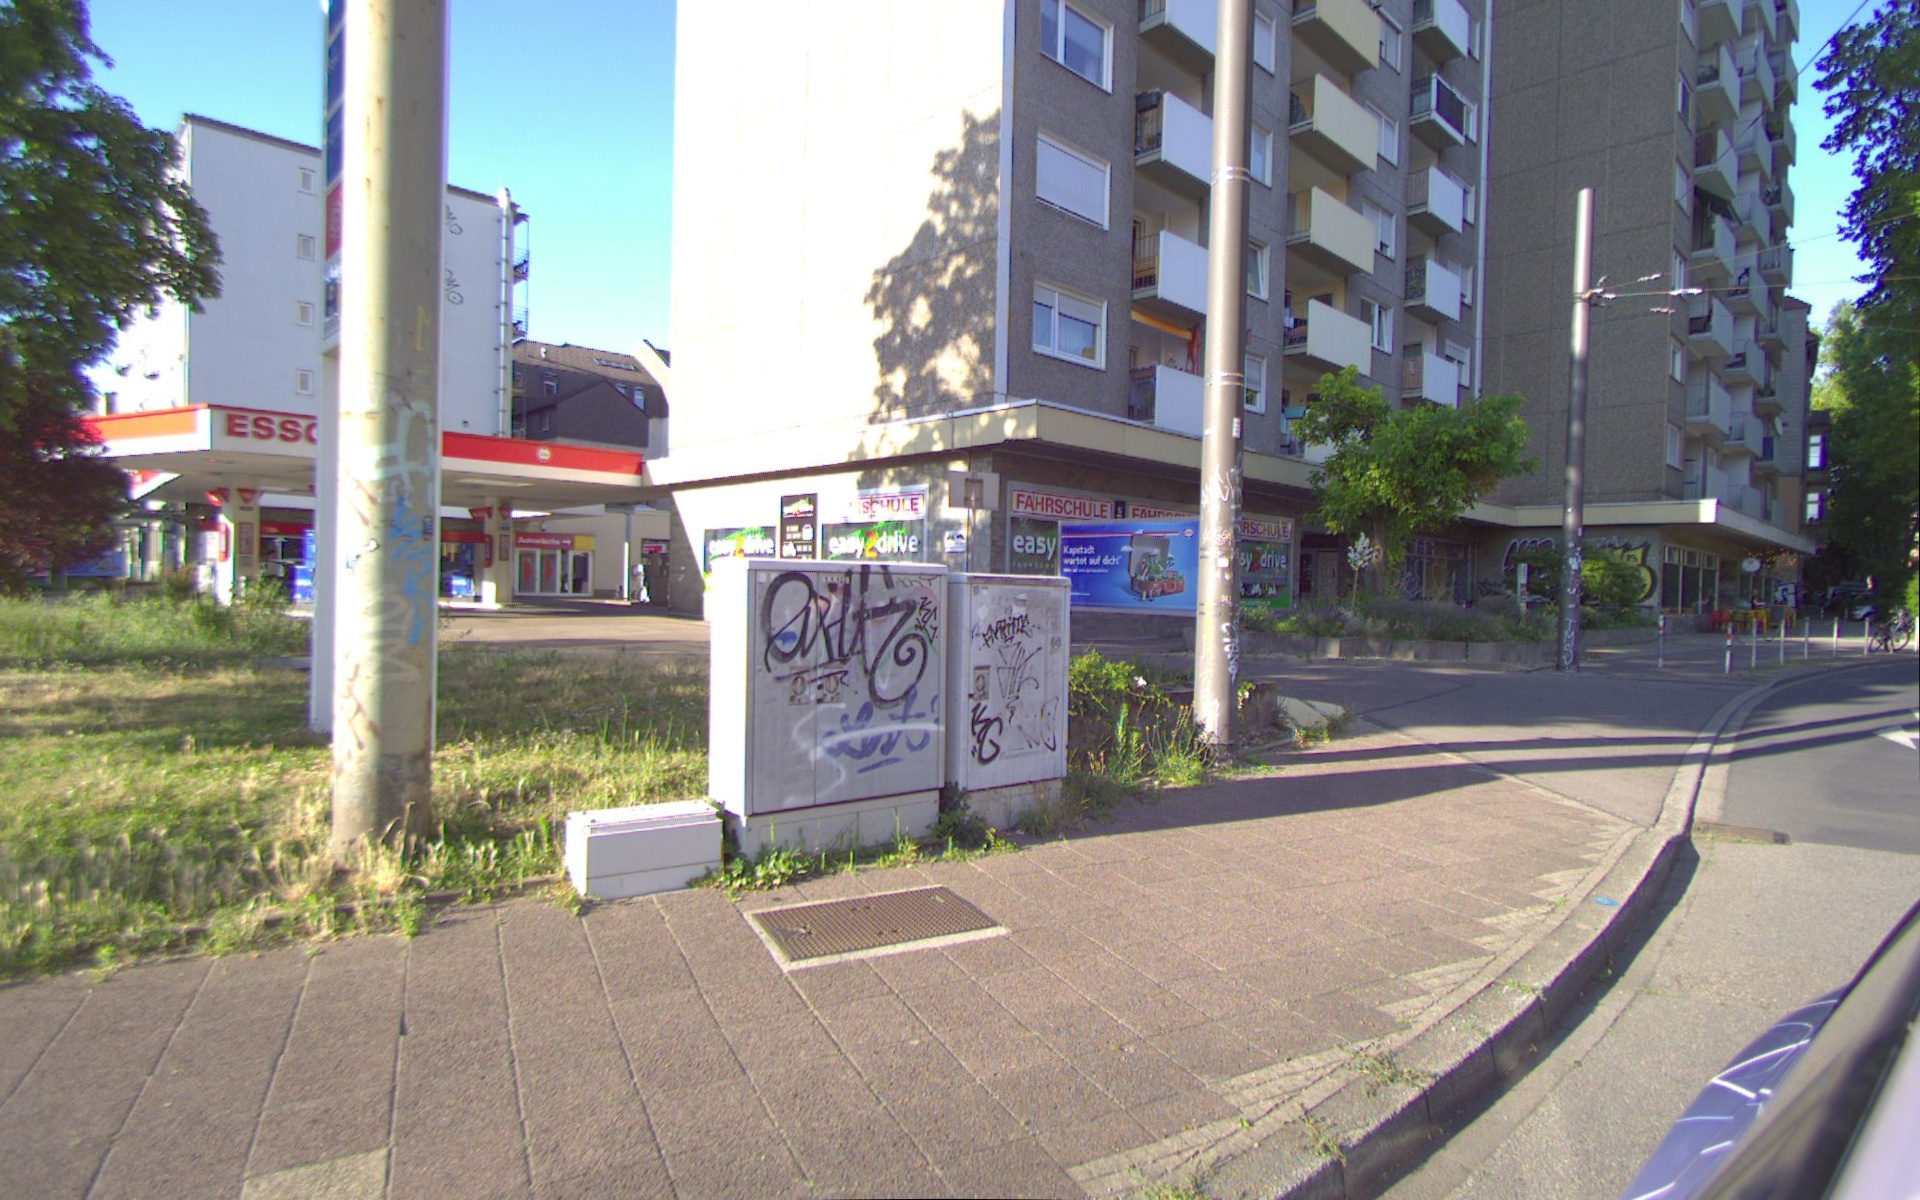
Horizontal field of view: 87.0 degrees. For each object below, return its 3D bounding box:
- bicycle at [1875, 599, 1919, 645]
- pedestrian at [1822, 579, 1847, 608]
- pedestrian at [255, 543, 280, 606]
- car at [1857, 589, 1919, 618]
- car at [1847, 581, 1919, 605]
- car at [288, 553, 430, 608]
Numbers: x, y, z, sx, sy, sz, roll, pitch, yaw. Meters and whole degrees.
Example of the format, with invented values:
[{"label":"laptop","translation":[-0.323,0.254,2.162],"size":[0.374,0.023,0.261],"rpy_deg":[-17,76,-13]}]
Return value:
[{"label":"bicycle","translation":[24.778,0.571,26.438],"size":[2.235,1.149,0.611],"rpy_deg":[1,1,-30]},{"label":"pedestrian","translation":[61.851,-0.448,71.608],"size":[1.207,2.039,1.190],"rpy_deg":[2,1,38]},{"label":"pedestrian","translation":[-19.264,-0.707,28.160],"size":[0.417,1.726,0.416],"rpy_deg":[2,1,31]},{"label":"car","translation":[52.915,0.188,56.521],"size":[3.978,1.527,1.861],"rpy_deg":[2,1,37]},{"label":"car","translation":[63.552,-0.488,69.343],"size":[3.978,1.527,1.861],"rpy_deg":[2,1,37]},{"label":"car","translation":[-17.943,-0.601,30.196],"size":[3.969,1.370,1.979],"rpy_deg":[4,3,31]}]
